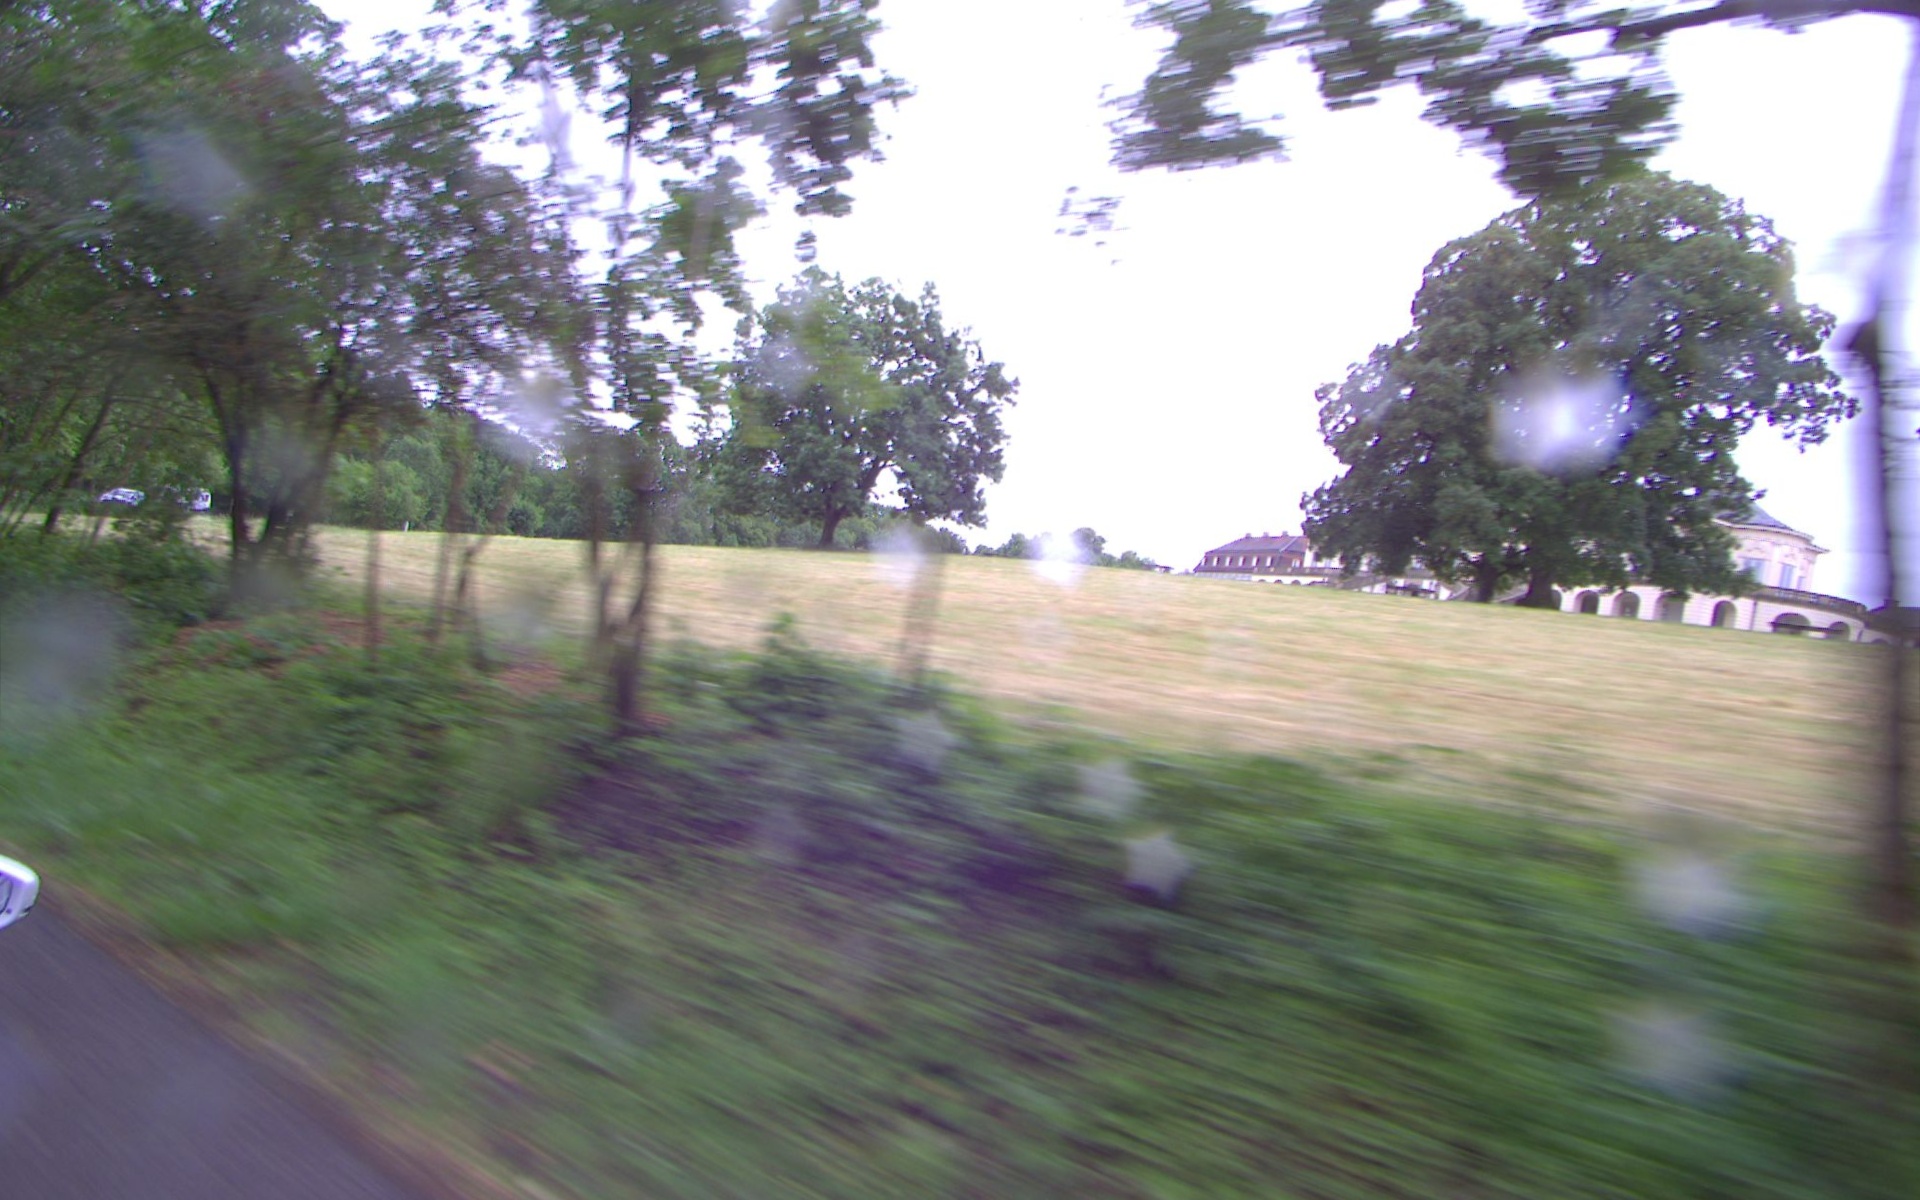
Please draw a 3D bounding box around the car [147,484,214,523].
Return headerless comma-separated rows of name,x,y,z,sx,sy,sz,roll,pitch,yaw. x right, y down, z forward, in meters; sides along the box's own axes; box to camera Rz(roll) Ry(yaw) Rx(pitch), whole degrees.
car,-65.252,-8.047,84.364,2.245,2.732,6.024,6,2,-17
